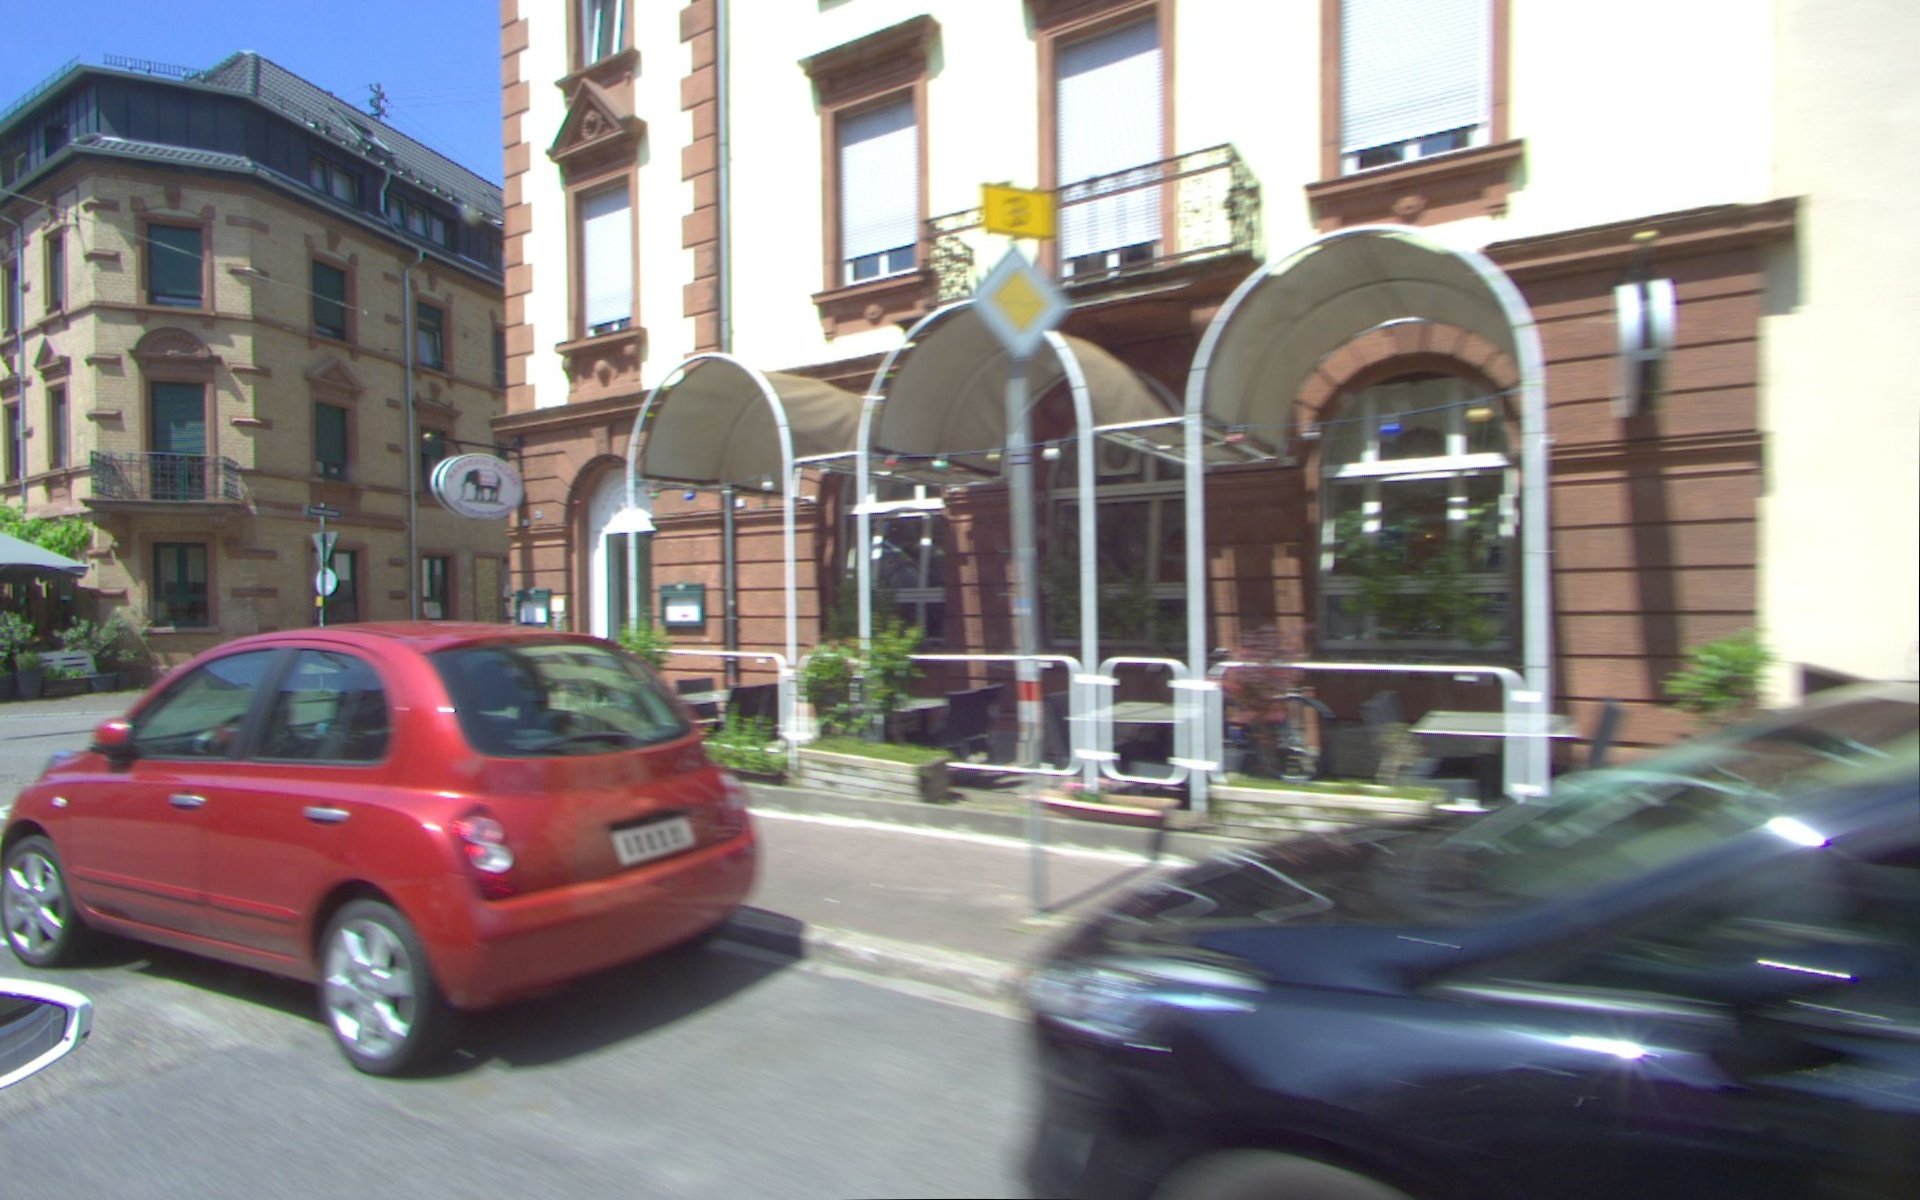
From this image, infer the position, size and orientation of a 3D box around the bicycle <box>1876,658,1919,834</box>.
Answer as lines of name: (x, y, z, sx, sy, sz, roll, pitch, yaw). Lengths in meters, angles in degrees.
bicycle: (6.348, 0.854, 5.674, 1.603, 0.996, 0.551, 0, 0, 26)

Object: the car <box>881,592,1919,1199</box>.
car: (1.939, 0.776, 1.801, 3.874, 1.497, 1.755, 0, -2, 32)

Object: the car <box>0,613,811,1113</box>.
car: (-2.742, 0.842, 4.683, 3.725, 1.497, 1.757, 0, -2, 28)

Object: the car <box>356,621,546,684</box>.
car: (-12.402, 1.230, 24.693, 1.883, 1.382, 3.992, 0, -1, 20)

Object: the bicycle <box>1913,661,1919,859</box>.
bicycle: (5.702, 0.831, 4.806, 1.611, 0.996, 0.548, 0, 0, 42)

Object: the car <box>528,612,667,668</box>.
car: (-10.858, 1.166, 30.321, 1.882, 1.556, 4.130, 0, -1, 17)
